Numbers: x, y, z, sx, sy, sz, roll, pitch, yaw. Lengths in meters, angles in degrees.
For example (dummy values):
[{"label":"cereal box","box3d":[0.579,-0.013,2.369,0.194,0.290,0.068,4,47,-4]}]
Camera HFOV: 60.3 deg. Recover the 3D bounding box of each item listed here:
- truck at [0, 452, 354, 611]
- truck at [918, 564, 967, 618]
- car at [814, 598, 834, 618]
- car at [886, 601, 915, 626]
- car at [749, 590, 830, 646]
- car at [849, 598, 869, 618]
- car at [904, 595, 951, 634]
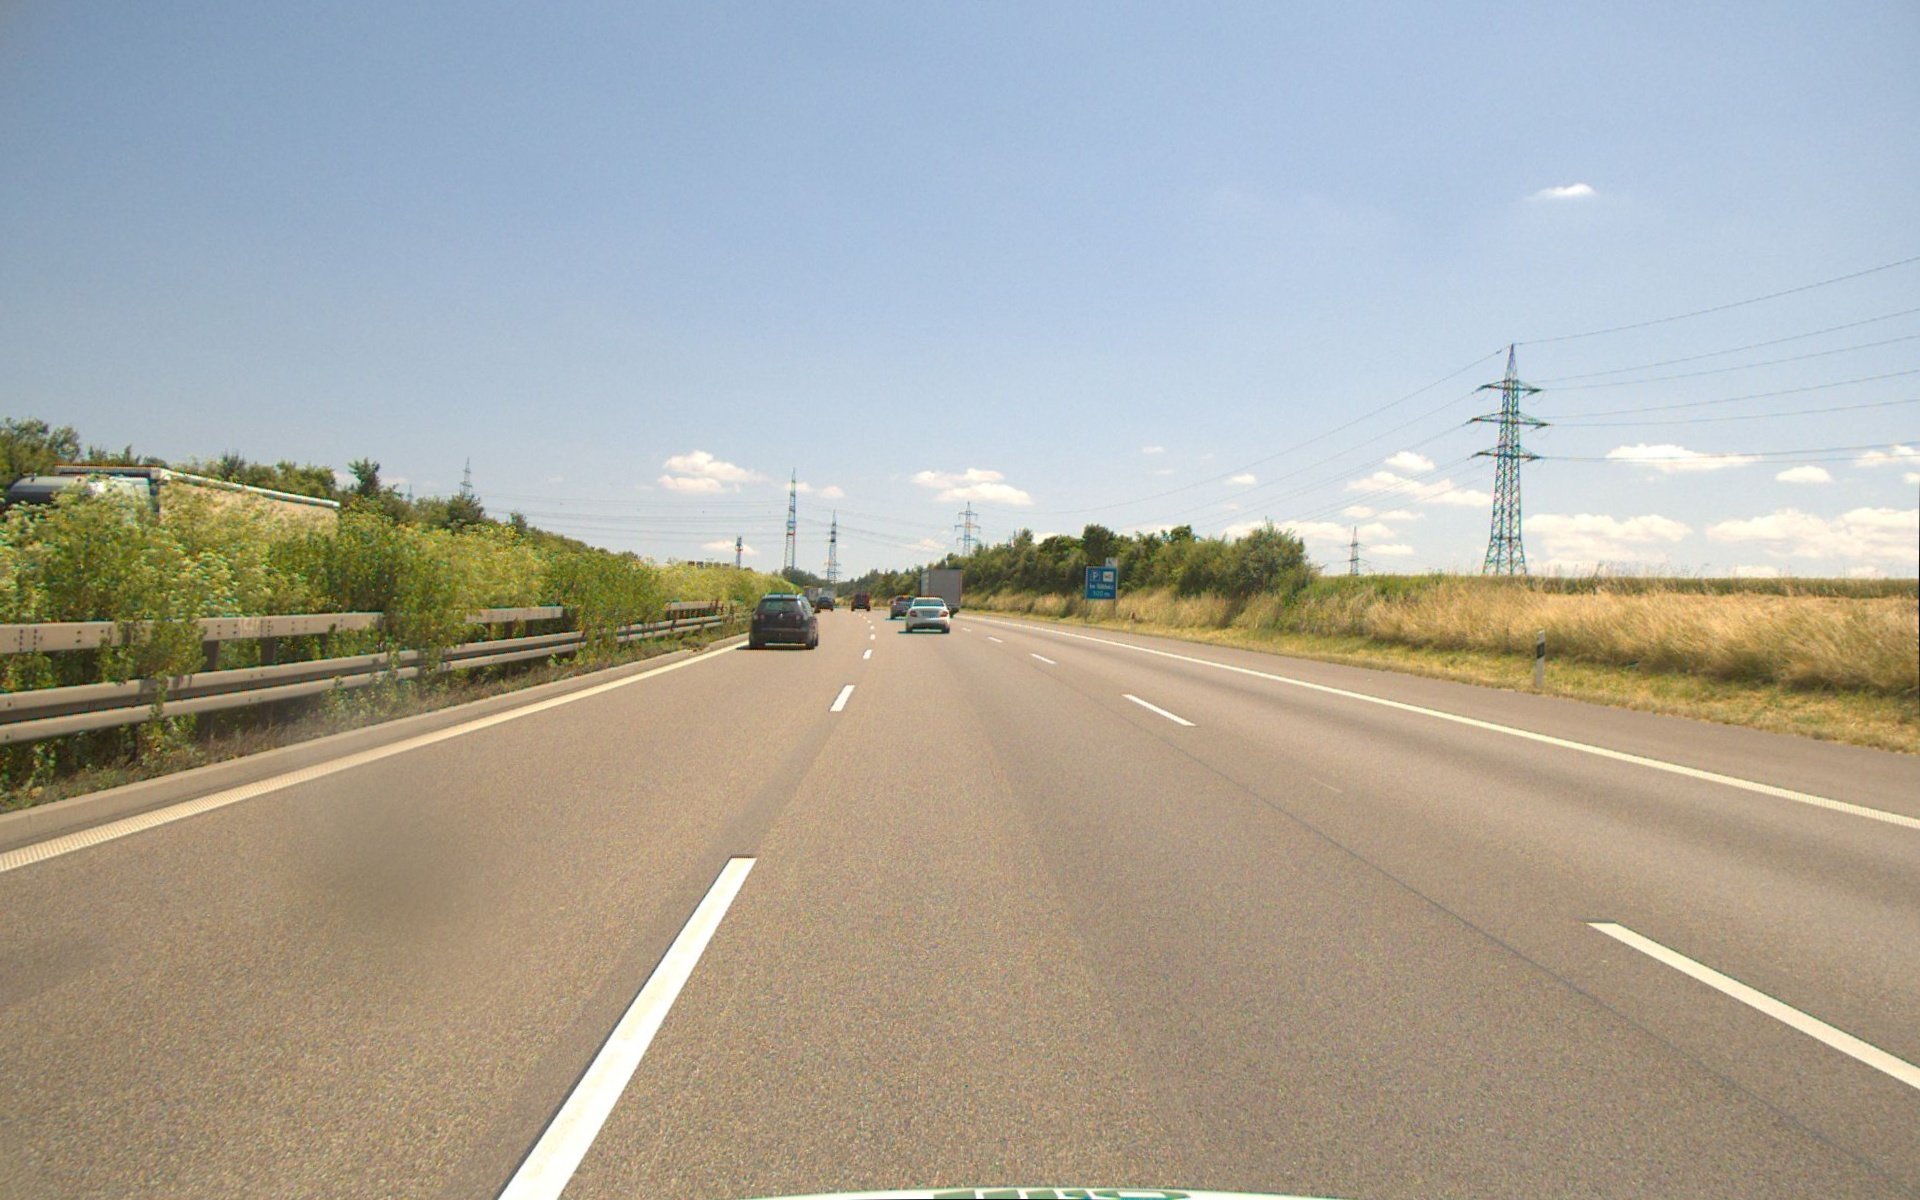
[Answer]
[{"label":"truck","box3d":[-21.043,-1.589,46.052,2.620,3.579,17.032,1,0,-2]},{"label":"truck","box3d":[-1.421,-0.661,127.928,3.158,3.993,9.052,1,-1,-4]},{"label":"car","box3d":[-13.515,0.761,164.910,1.954,1.892,3.997,1,0,-4]},{"label":"car","box3d":[-3.843,0.836,107.614,1.801,1.567,3.913,1,0,-1]},{"label":"car","box3d":[-4.641,0.466,45.587,1.720,1.454,4.001,1,0,1]},{"label":"car","box3d":[-10.467,0.834,171.318,1.865,1.959,3.994,1,0,-7]},{"label":"car","box3d":[-1.373,0.571,67.859,1.783,1.567,3.912,1,0,-3]}]
